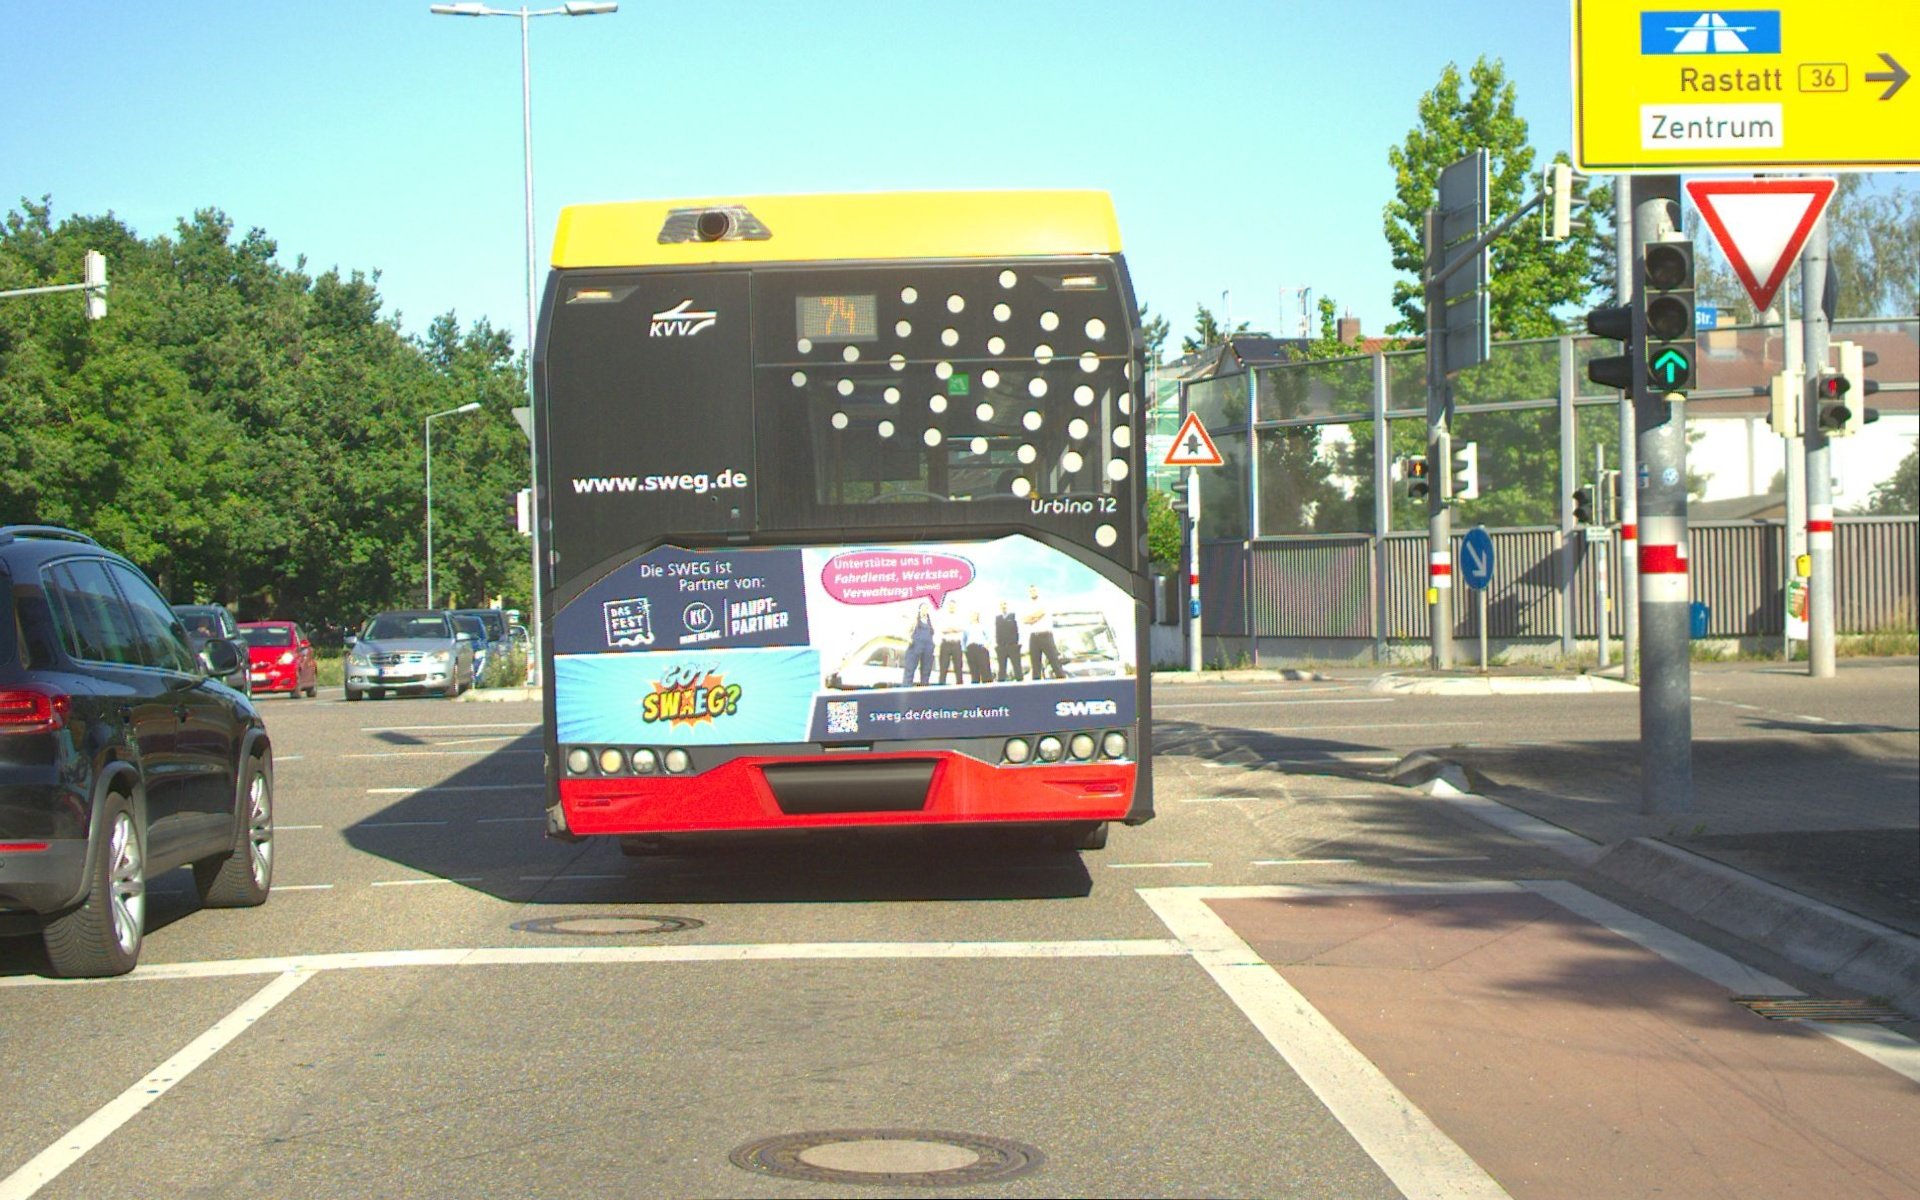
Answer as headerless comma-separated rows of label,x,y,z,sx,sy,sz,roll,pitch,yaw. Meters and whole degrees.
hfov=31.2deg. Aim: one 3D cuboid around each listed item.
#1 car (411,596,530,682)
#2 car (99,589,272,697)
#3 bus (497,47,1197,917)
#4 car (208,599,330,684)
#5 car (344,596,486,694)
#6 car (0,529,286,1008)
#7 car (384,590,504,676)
car,-9.777,0.766,68.942,1.993,1.611,4.531,-1,0,-4
car,-12.625,0.687,56.292,1.993,1.638,4.530,-1,0,-3
bus,-0.722,-0.545,19.966,2.757,3.446,12.399,1,1,-3
car,-12.670,0.753,63.211,1.645,1.478,3.714,-1,0,-3
car,-8.852,0.716,56.143,1.793,1.501,4.530,-1,0,-3
car,-3.959,0.560,13.638,1.827,1.622,4.000,-1,1,-1
car,-9.296,0.587,62.190,1.746,1.478,3.888,-1,0,-3
